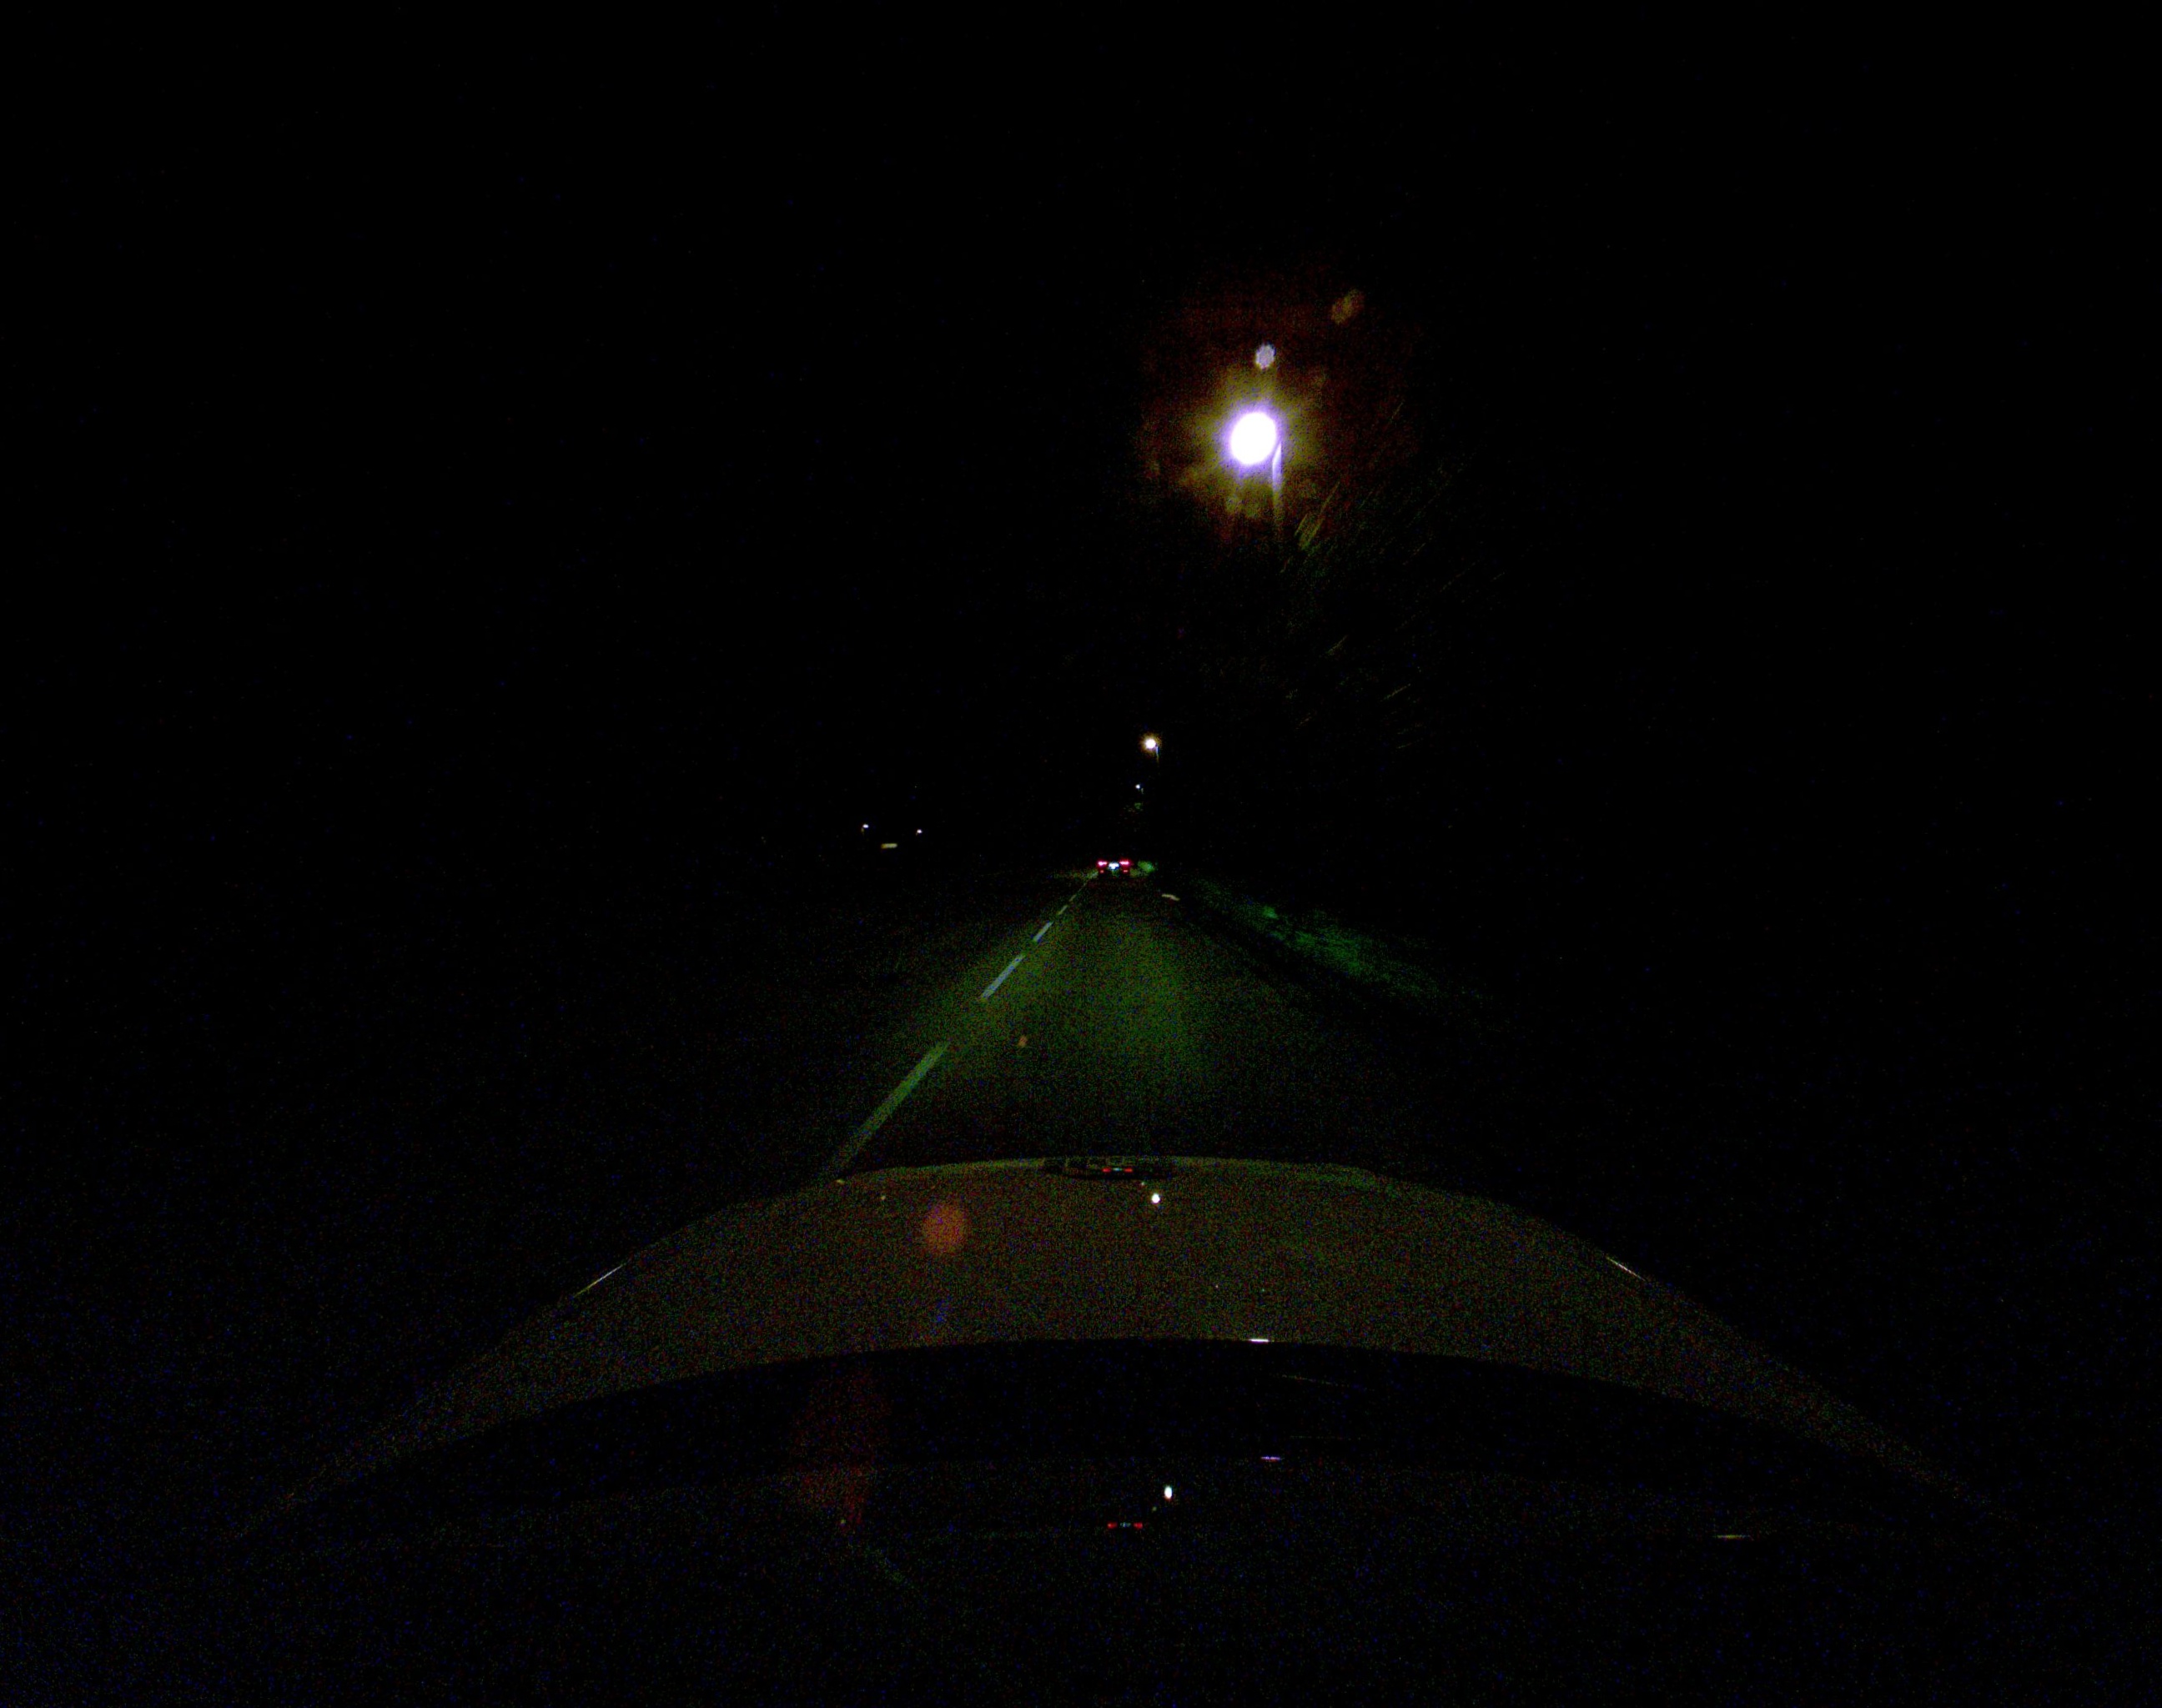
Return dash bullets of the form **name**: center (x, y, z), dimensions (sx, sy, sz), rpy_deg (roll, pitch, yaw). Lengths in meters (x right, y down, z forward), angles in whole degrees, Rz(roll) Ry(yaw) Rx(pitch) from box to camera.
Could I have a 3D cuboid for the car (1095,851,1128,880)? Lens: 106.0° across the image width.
- **car**: center (1.774, 0.621, 46.775), dimensions (1.807, 1.573, 3.946), rpy_deg (-2, 0, 2)
